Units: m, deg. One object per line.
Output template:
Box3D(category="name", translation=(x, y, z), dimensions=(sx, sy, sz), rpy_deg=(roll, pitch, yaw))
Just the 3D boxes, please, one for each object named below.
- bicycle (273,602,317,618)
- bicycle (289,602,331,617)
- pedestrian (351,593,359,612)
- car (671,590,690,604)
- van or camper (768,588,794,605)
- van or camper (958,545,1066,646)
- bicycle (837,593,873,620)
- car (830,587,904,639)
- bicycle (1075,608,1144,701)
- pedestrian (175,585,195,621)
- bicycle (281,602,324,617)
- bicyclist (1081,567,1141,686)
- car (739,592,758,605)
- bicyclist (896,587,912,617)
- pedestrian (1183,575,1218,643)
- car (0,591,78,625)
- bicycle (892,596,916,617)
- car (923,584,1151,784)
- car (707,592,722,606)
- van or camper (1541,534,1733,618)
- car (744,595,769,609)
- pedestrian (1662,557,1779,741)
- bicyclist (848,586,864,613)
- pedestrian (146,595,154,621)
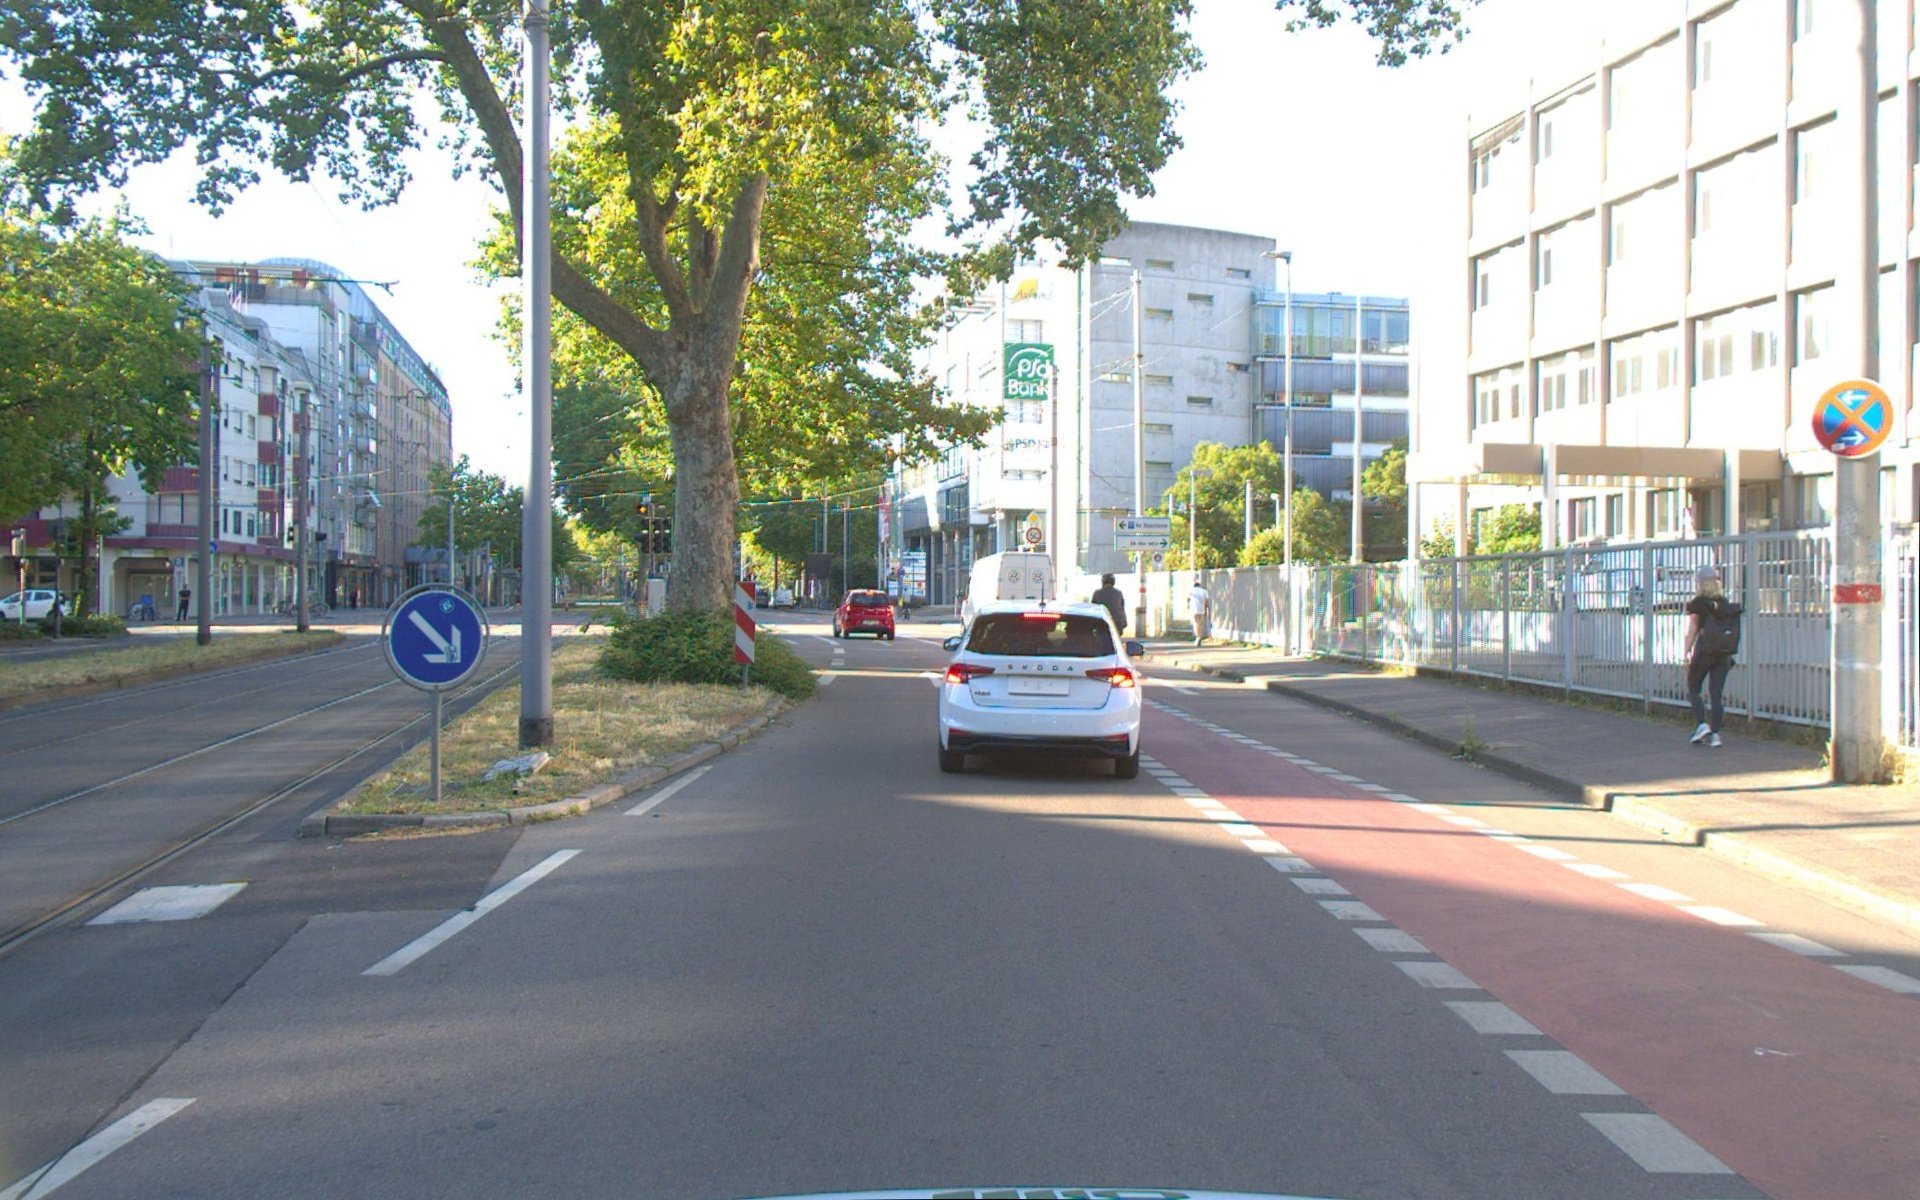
Box3D(category="bicycle", translation=(-36.490, 0.546, 90.770), dimensions=(2.133, 0.801, 0.638), rpy_deg=(0, 0, -15))
Box3D(category="bicycle", translation=(-36.509, 0.516, 92.922), dimensions=(2.133, 0.838, 0.526), rpy_deg=(0, 0, -15))
Box3D(category="pedestrian", translation=(-45.596, 0.188, 124.611), dimensions=(0.502, 1.484, 0.526), rpy_deg=(0, 0, -15))
Box3D(category="car", translation=(-35.896, -0.399, 212.459), dimensions=(2.024, 1.682, 3.477), rpy_deg=(-1, 1, -16))
Box3D(category="van or camper", translation=(-18.975, -0.345, 175.355), dimensions=(2.109, 1.781, 4.416), rpy_deg=(-1, 0, -14))
Box3D(category="van or camper", translation=(1.461, -0.137, 49.992), dimensions=(2.226, 2.781, 6.337), rpy_deg=(2, 0, -7))
Box3D(category="bicycle", translation=(-5.605, 0.326, 88.302), dimensions=(0.636, 1.403, 1.980), rpy_deg=(0, 0, 44))
Box3D(category="car", translation=(-2.896, 0.372, 50.807), dimensions=(1.806, 1.515, 3.707), rpy_deg=(0, 0, -11))
Box3D(category="bicycle", translation=(2.184, 0.774, 24.412), dimensions=(0.729, 1.245, 2.155), rpy_deg=(2, 0, -2))
Box3D(category="pedestrian", translation=(-37.147, 0.141, 79.303), dimensions=(0.697, 1.691, 1.029), rpy_deg=(-1, 0, -16))
Box3D(category="bicycle", translation=(-36.388, 0.543, 91.566), dimensions=(2.133, 0.801, 0.490), rpy_deg=(0, 0, -15))
Box3D(category="bicyclist", translation=(2.198, 0.378, 24.196), dimensions=(0.728, 1.698, 0.744), rpy_deg=(2, 0, -3))
Box3D(category="car", translation=(-26.263, -0.208, 205.282), dimensions=(1.853, 1.555, 4.416), rpy_deg=(-1, 1, -14))
Box3D(category="bicyclist", translation=(-3.175, 0.096, 93.121), dimensions=(0.772, 1.663, 0.636), rpy_deg=(0, 0, -16))
Box3D(category="pedestrian", translation=(6.453, 0.237, 44.379), dimensions=(0.770, 1.779, 0.771), rpy_deg=(0, 0, -5))
Box3D(category="car", translation=(-43.729, 0.370, 77.614), dimensions=(3.933, 1.489, 1.789), rpy_deg=(-1, 0, -23))
Box3D(category="bicycle", translation=(-3.155, 0.353, 93.074), dimensions=(0.779, 1.182, 2.490), rpy_deg=(0, 0, -15))
Box3D(category="car", translation=(0.805, 0.653, 14.936), dimensions=(1.764, 1.527, 3.984), rpy_deg=(1, 0, 6))
Box3D(category="car", translation=(-31.338, -0.130, 211.052), dimensions=(1.628, 1.635, 3.520), rpy_deg=(-1, 0, -12))
Box3D(category="van or camper", translation=(16.648, -0.579, 40.987), dimensions=(1.945, 1.942, 4.985), rpy_deg=(-1, 1, -12))
Box3D(category="car", translation=(-23.212, 0.183, 188.732), dimensions=(2.435, 1.555, 4.417), rpy_deg=(-1, 1, -13))
Box3D(category="pedestrian", translation=(7.283, 0.452, 15.869), dimensions=(0.682, 1.713, 0.930), rpy_deg=(0, 0, -2))
Box3D(category="bicyclist", translation=(-5.550, -0.029, 88.353), dimensions=(0.626, 1.413, 0.602), rpy_deg=(0, 0, 45))
Box3D(category="pedestrian", translation=(-39.353, 0.385, 80.340), dimensions=(0.298, 1.235, 0.317), rpy_deg=(-1, 0, -16))
